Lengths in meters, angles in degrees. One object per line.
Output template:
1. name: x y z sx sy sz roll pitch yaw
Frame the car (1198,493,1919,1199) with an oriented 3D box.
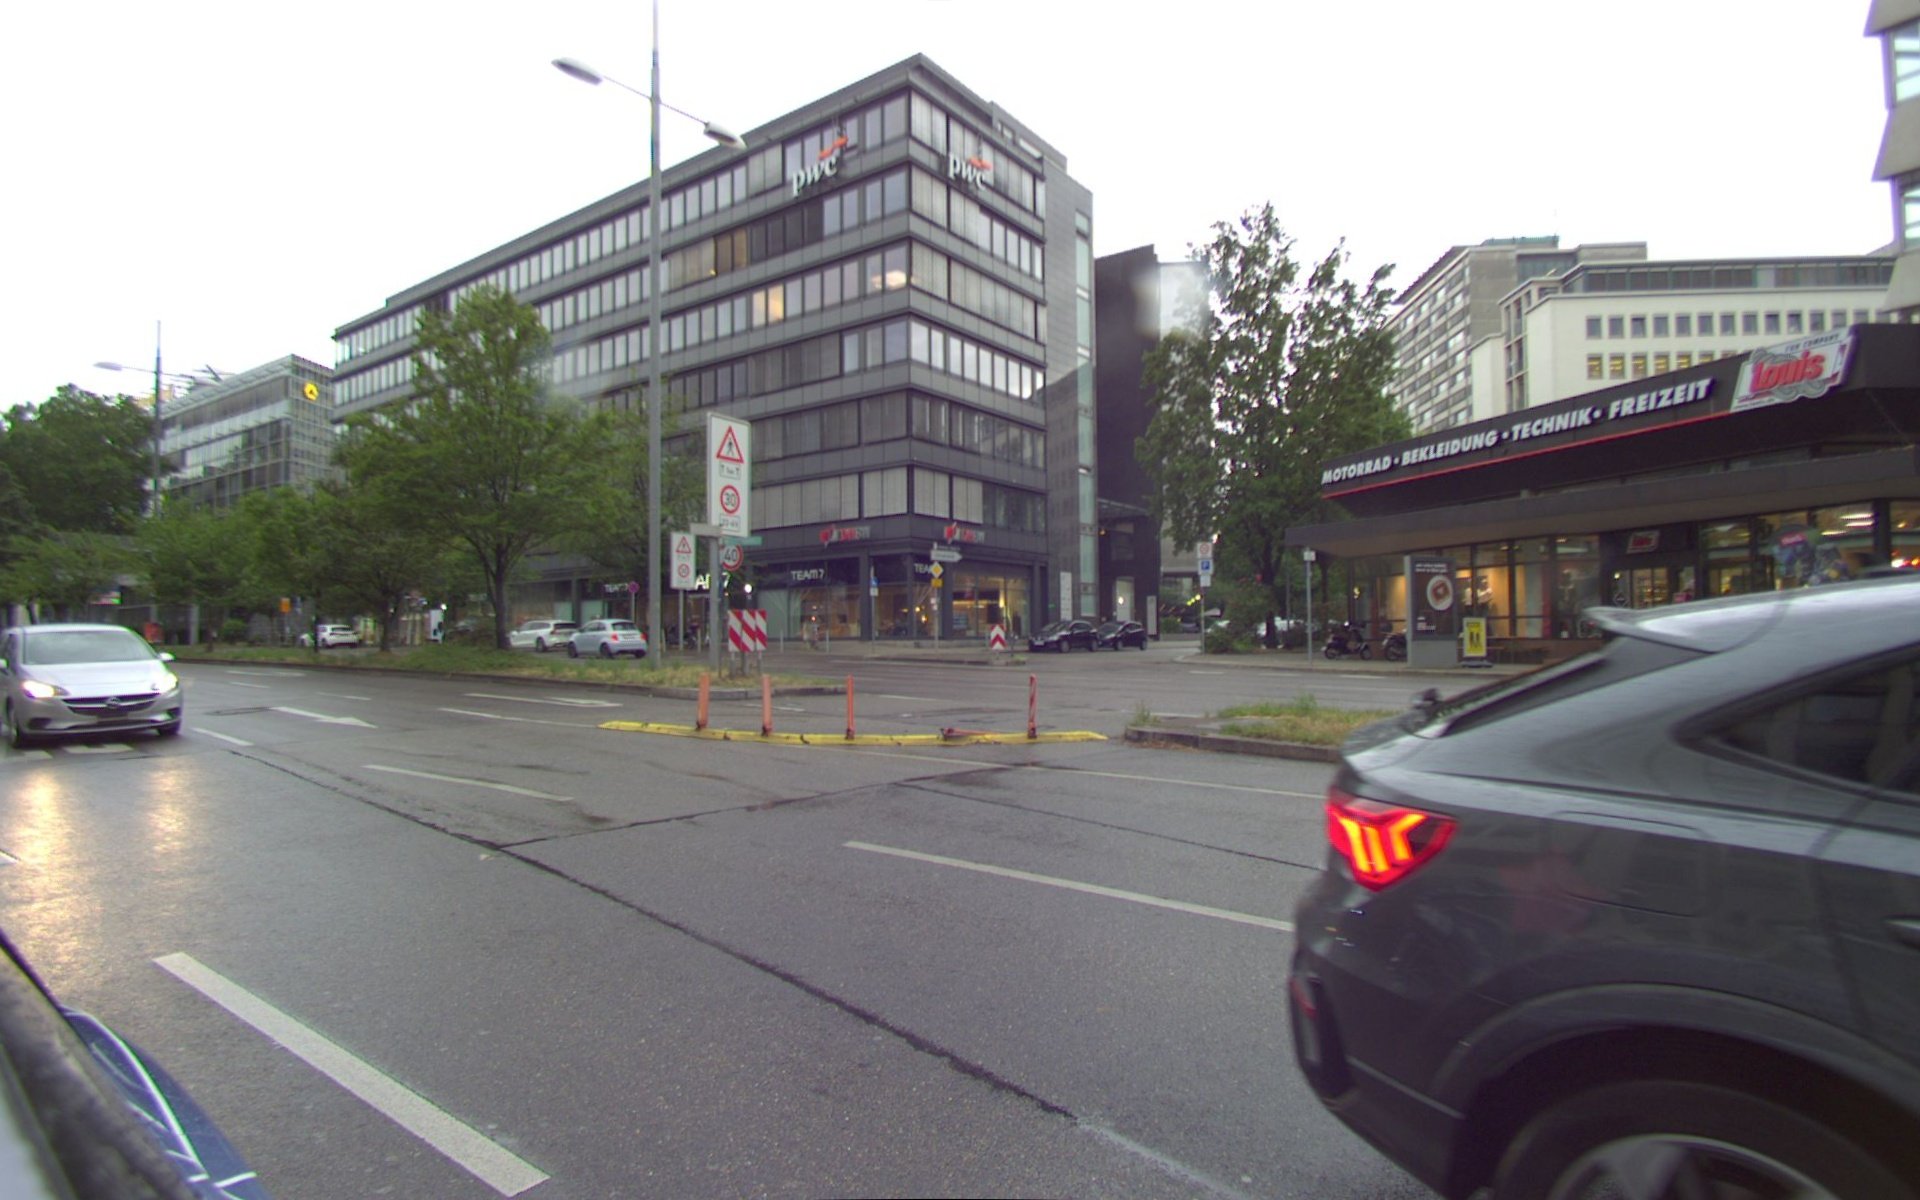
1. car: 2.679 0.579 1.159 4.281 1.446 1.918 -2 -2 38

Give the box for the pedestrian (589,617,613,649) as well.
1. pedestrian: -18.825 1.739 53.045 0.964 1.650 0.776 -2 -2 36

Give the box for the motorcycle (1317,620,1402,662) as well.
1. motorcycle: 13.567 1.388 34.356 2.773 1.343 0.725 -1 -1 -15

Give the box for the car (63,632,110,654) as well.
1. car: -65.657 3.229 76.038 4.478 1.556 1.974 -2 -2 40

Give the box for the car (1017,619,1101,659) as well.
1. car: 4.501 1.718 45.626 1.996 1.652 3.951 -1 -1 36

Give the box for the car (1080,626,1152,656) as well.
1. car: 7.614 1.946 49.244 1.844 1.298 3.950 -1 -1 37

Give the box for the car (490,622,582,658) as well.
1. car: -20.002 1.875 47.644 4.764 1.496 1.792 -2 2 37

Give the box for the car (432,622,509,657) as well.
1. car: -24.870 1.988 51.377 4.304 1.673 1.791 -2 -1 38

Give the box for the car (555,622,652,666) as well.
1. car: -13.780 1.676 39.026 3.684 1.585 1.767 -2 -2 36

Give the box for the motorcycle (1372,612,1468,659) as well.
1. motorcycle: 14.284 1.089 31.428 2.843 1.384 0.806 -1 -1 -16

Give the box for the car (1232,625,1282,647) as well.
1. car: 19.397 2.325 65.938 1.844 1.298 3.950 -1 -1 37

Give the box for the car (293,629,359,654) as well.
1. car: -38.252 2.493 61.036 4.298 1.455 1.794 -2 -1 34

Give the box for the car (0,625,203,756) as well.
1. car: -11.693 1.082 13.375 3.866 1.454 1.830 -2 -1 39

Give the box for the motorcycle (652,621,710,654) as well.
1. motorcycle: -12.404 1.657 44.980 2.344 1.404 0.857 -1 2 10

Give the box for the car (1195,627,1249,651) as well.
1. car: 15.942 2.340 61.526 1.843 1.298 3.951 -1 -1 36
